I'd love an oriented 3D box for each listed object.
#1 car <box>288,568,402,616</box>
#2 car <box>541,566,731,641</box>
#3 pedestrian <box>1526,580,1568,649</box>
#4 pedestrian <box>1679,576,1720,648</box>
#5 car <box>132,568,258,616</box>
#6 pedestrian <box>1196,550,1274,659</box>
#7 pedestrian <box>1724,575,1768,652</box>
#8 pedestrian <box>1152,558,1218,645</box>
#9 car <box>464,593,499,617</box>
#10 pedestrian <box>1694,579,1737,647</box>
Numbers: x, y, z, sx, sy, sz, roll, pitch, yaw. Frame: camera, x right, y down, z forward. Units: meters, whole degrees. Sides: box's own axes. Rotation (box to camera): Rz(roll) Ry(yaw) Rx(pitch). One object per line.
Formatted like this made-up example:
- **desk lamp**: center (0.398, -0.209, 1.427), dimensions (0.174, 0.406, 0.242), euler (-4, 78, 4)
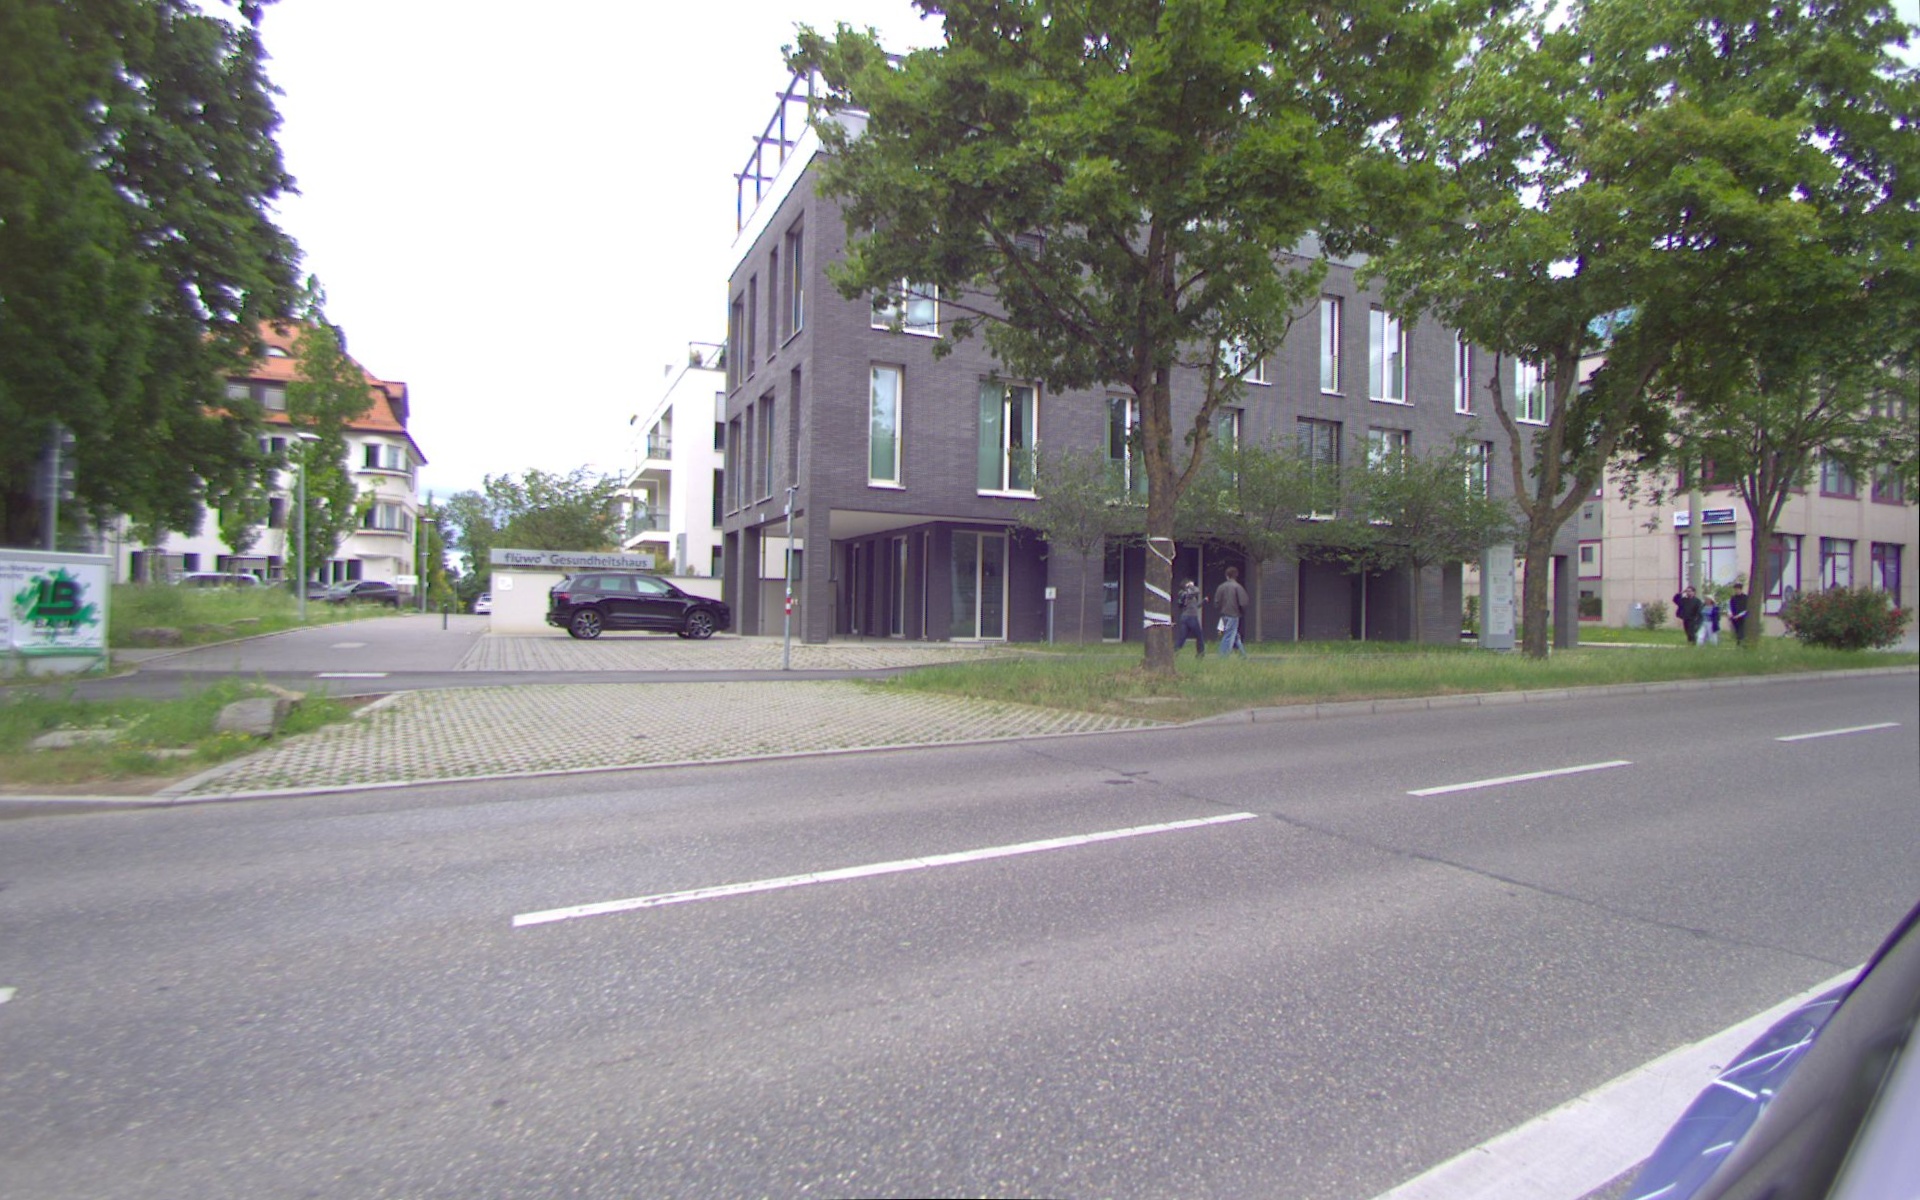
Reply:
- **car**: center (-27.889, -0.368, 46.035), dimensions (1.976, 2.039, 4.102), euler (1, 0, 21)
- **car**: center (-7.757, 0.075, 24.279), dimensions (4.065, 1.667, 1.763), euler (0, 0, -30)
- **pedestrian**: center (13.505, 0.333, 23.276), dimensions (0.664, 1.537, 0.497), euler (0, 3, -30)
- **pedestrian**: center (18.936, 0.303, 25.925), dimensions (0.663, 1.828, 0.644), euler (0, 0, -30)
- **car**: center (-34.143, -0.370, 45.283), dimensions (1.976, 2.039, 4.102), euler (1, 0, 21)
- **pedestrian**: center (4.961, 0.074, 18.277), dimensions (0.959, 1.892, 0.964), euler (0, 0, -28)
- **pedestrian**: center (19.115, 0.327, 24.607), dimensions (0.663, 1.828, 0.644), euler (0, 0, -30)
- **pedestrian**: center (4.218, 0.023, 18.998), dimensions (0.858, 1.577, 0.836), euler (0, 0, -28)
- **car**: center (-33.911, 0.345, 71.666), dimensions (1.960, 1.571, 3.743), euler (0, 1, -29)
- **pedestrian**: center (18.809, 0.316, 25.201), dimensions (0.663, 1.668, 0.644), euler (0, 0, -30)
